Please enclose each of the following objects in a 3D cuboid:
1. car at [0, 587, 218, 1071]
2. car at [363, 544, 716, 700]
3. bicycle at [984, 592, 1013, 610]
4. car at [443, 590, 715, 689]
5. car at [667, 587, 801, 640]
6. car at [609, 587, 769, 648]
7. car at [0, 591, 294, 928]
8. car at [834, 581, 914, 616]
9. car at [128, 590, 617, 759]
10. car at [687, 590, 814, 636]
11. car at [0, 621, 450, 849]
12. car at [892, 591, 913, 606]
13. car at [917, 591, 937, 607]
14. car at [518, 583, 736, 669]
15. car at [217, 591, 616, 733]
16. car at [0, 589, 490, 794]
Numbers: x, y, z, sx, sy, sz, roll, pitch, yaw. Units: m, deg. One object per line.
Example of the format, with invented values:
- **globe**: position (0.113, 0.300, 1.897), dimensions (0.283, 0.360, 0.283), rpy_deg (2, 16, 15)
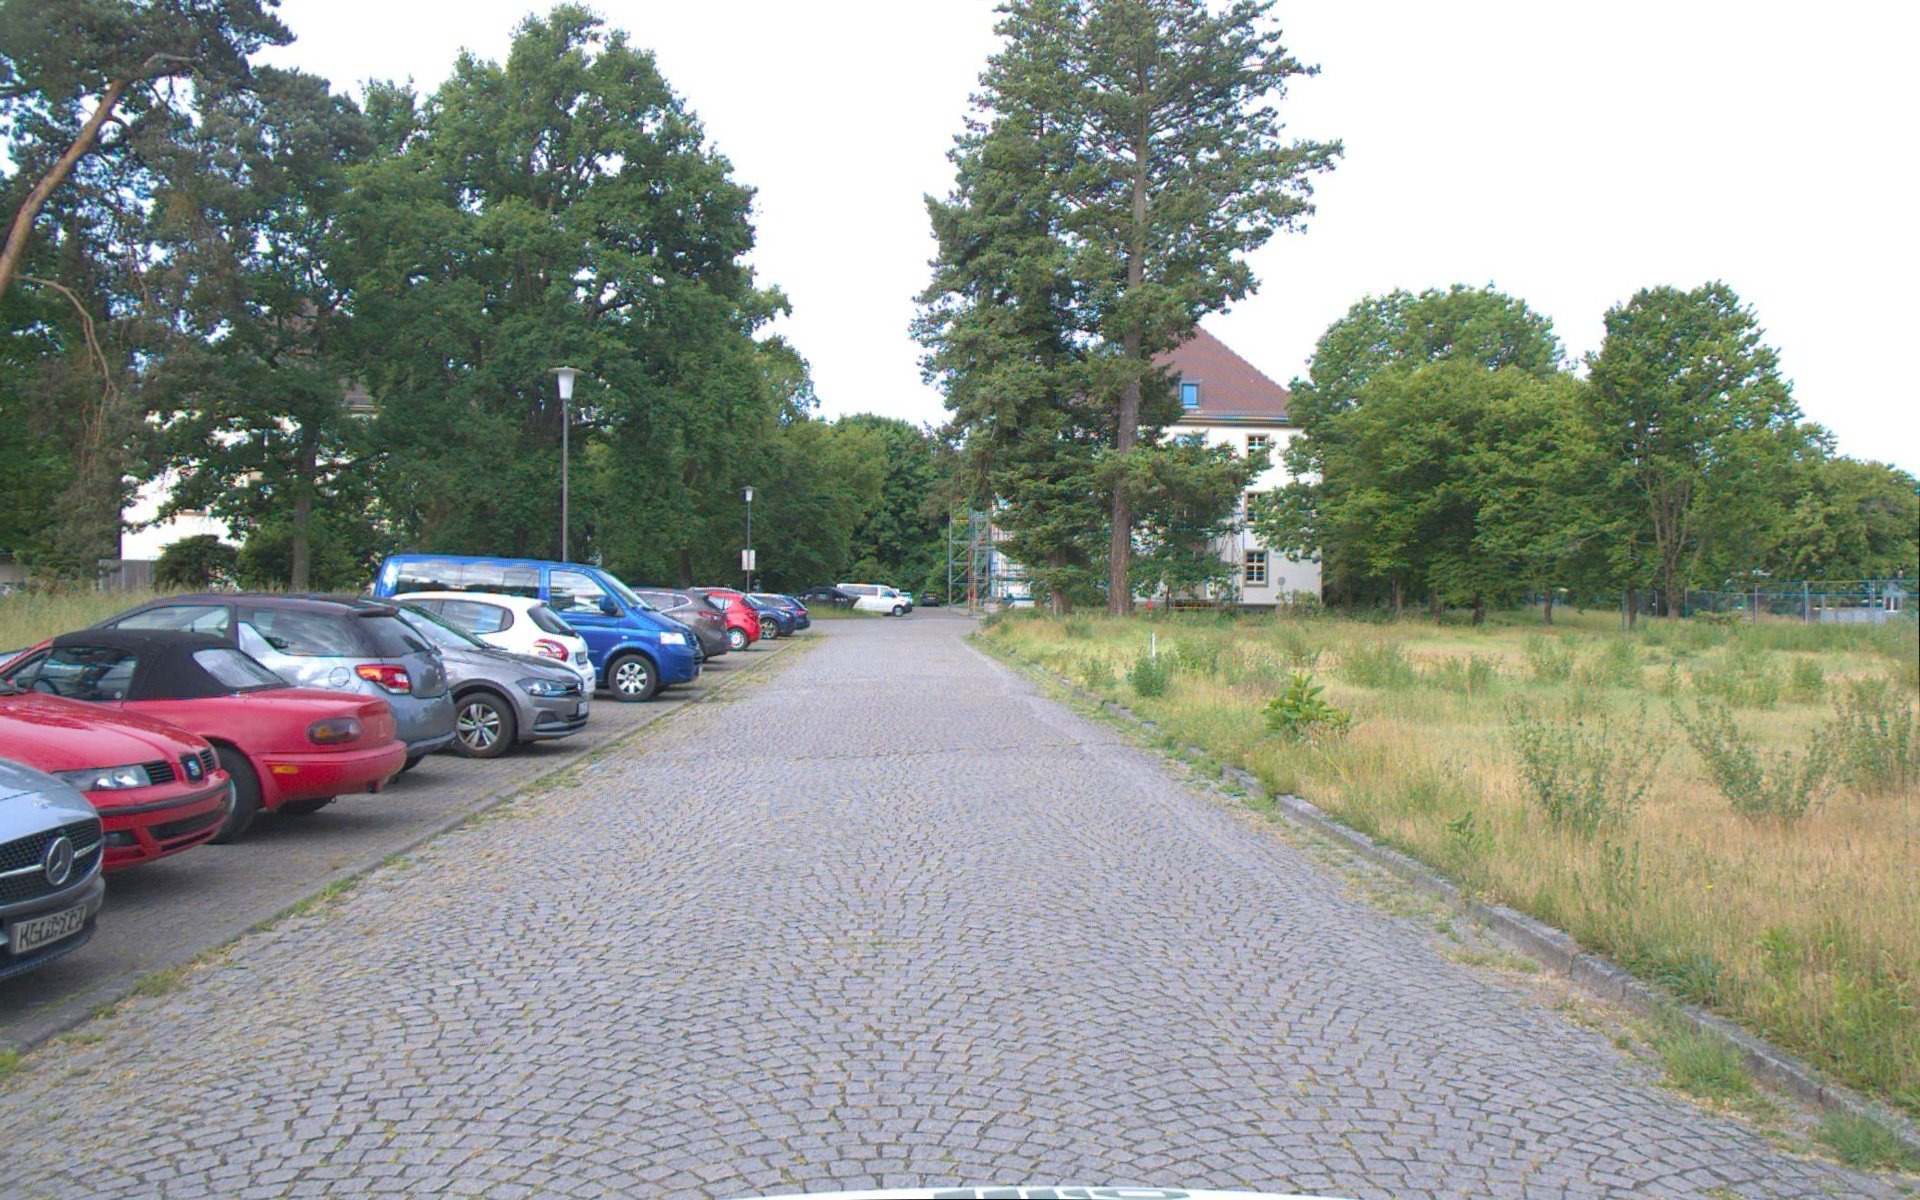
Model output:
- **car**: position (-5.255, 0.711, 5.945), dimensions (4.288, 1.534, 1.934), rpy_deg (0, 0, -5)
- **car**: position (-6.068, 0.312, 24.380), dimensions (4.687, 2.159, 2.114), rpy_deg (0, 0, -4)
- **bicycle**: position (2.913, 0.081, 125.128), dimensions (2.194, 1.276, 0.777), rpy_deg (1, 0, 0)
- **car**: position (-6.127, 0.627, 26.969), dimensions (4.084, 1.536, 1.780), rpy_deg (0, 0, -5)
- **car**: position (-7.302, 0.425, 53.839), dimensions (4.144, 1.604, 1.886), rpy_deg (2, 0, -4)
- **car**: position (-7.094, 0.441, 43.598), dimensions (3.975, 1.552, 1.903), rpy_deg (0, 0, -4)
- **car**: position (-5.761, 0.706, 8.295), dimensions (4.083, 1.502, 1.863), rpy_deg (0, 0, -3)
- **car**: position (-5.633, -0.072, 107.499), dimensions (5.132, 2.206, 1.998), rpy_deg (1, 0, -5)
- **car**: position (-5.590, 0.678, 16.143), dimensions (4.081, 1.517, 1.864), rpy_deg (1, 0, -1)
- **car**: position (-7.375, 0.446, 58.565), dimensions (4.215, 1.486, 1.974), rpy_deg (2, 0, -1)
- **car**: position (-5.624, 0.809, 10.676), dimensions (4.081, 1.289, 1.831), rpy_deg (1, 0, -2)
- **car**: position (-6.062, -0.117, 173.517), dimensions (2.077, 1.548, 3.997), rpy_deg (1, 0, -4)
- **car**: position (-3.452, -0.107, 173.936), dimensions (1.912, 1.548, 3.997), rpy_deg (1, 0, -4)
- **car**: position (-6.611, 0.513, 33.243), dimensions (4.085, 1.650, 1.985), rpy_deg (0, 0, -5)
- **car**: position (-6.150, 0.675, 19.081), dimensions (3.985, 1.523, 1.845), rpy_deg (1, 0, -2)
- **car**: position (-6.091, 0.681, 13.311), dimensions (4.082, 1.508, 1.845), rpy_deg (1, 0, -2)
